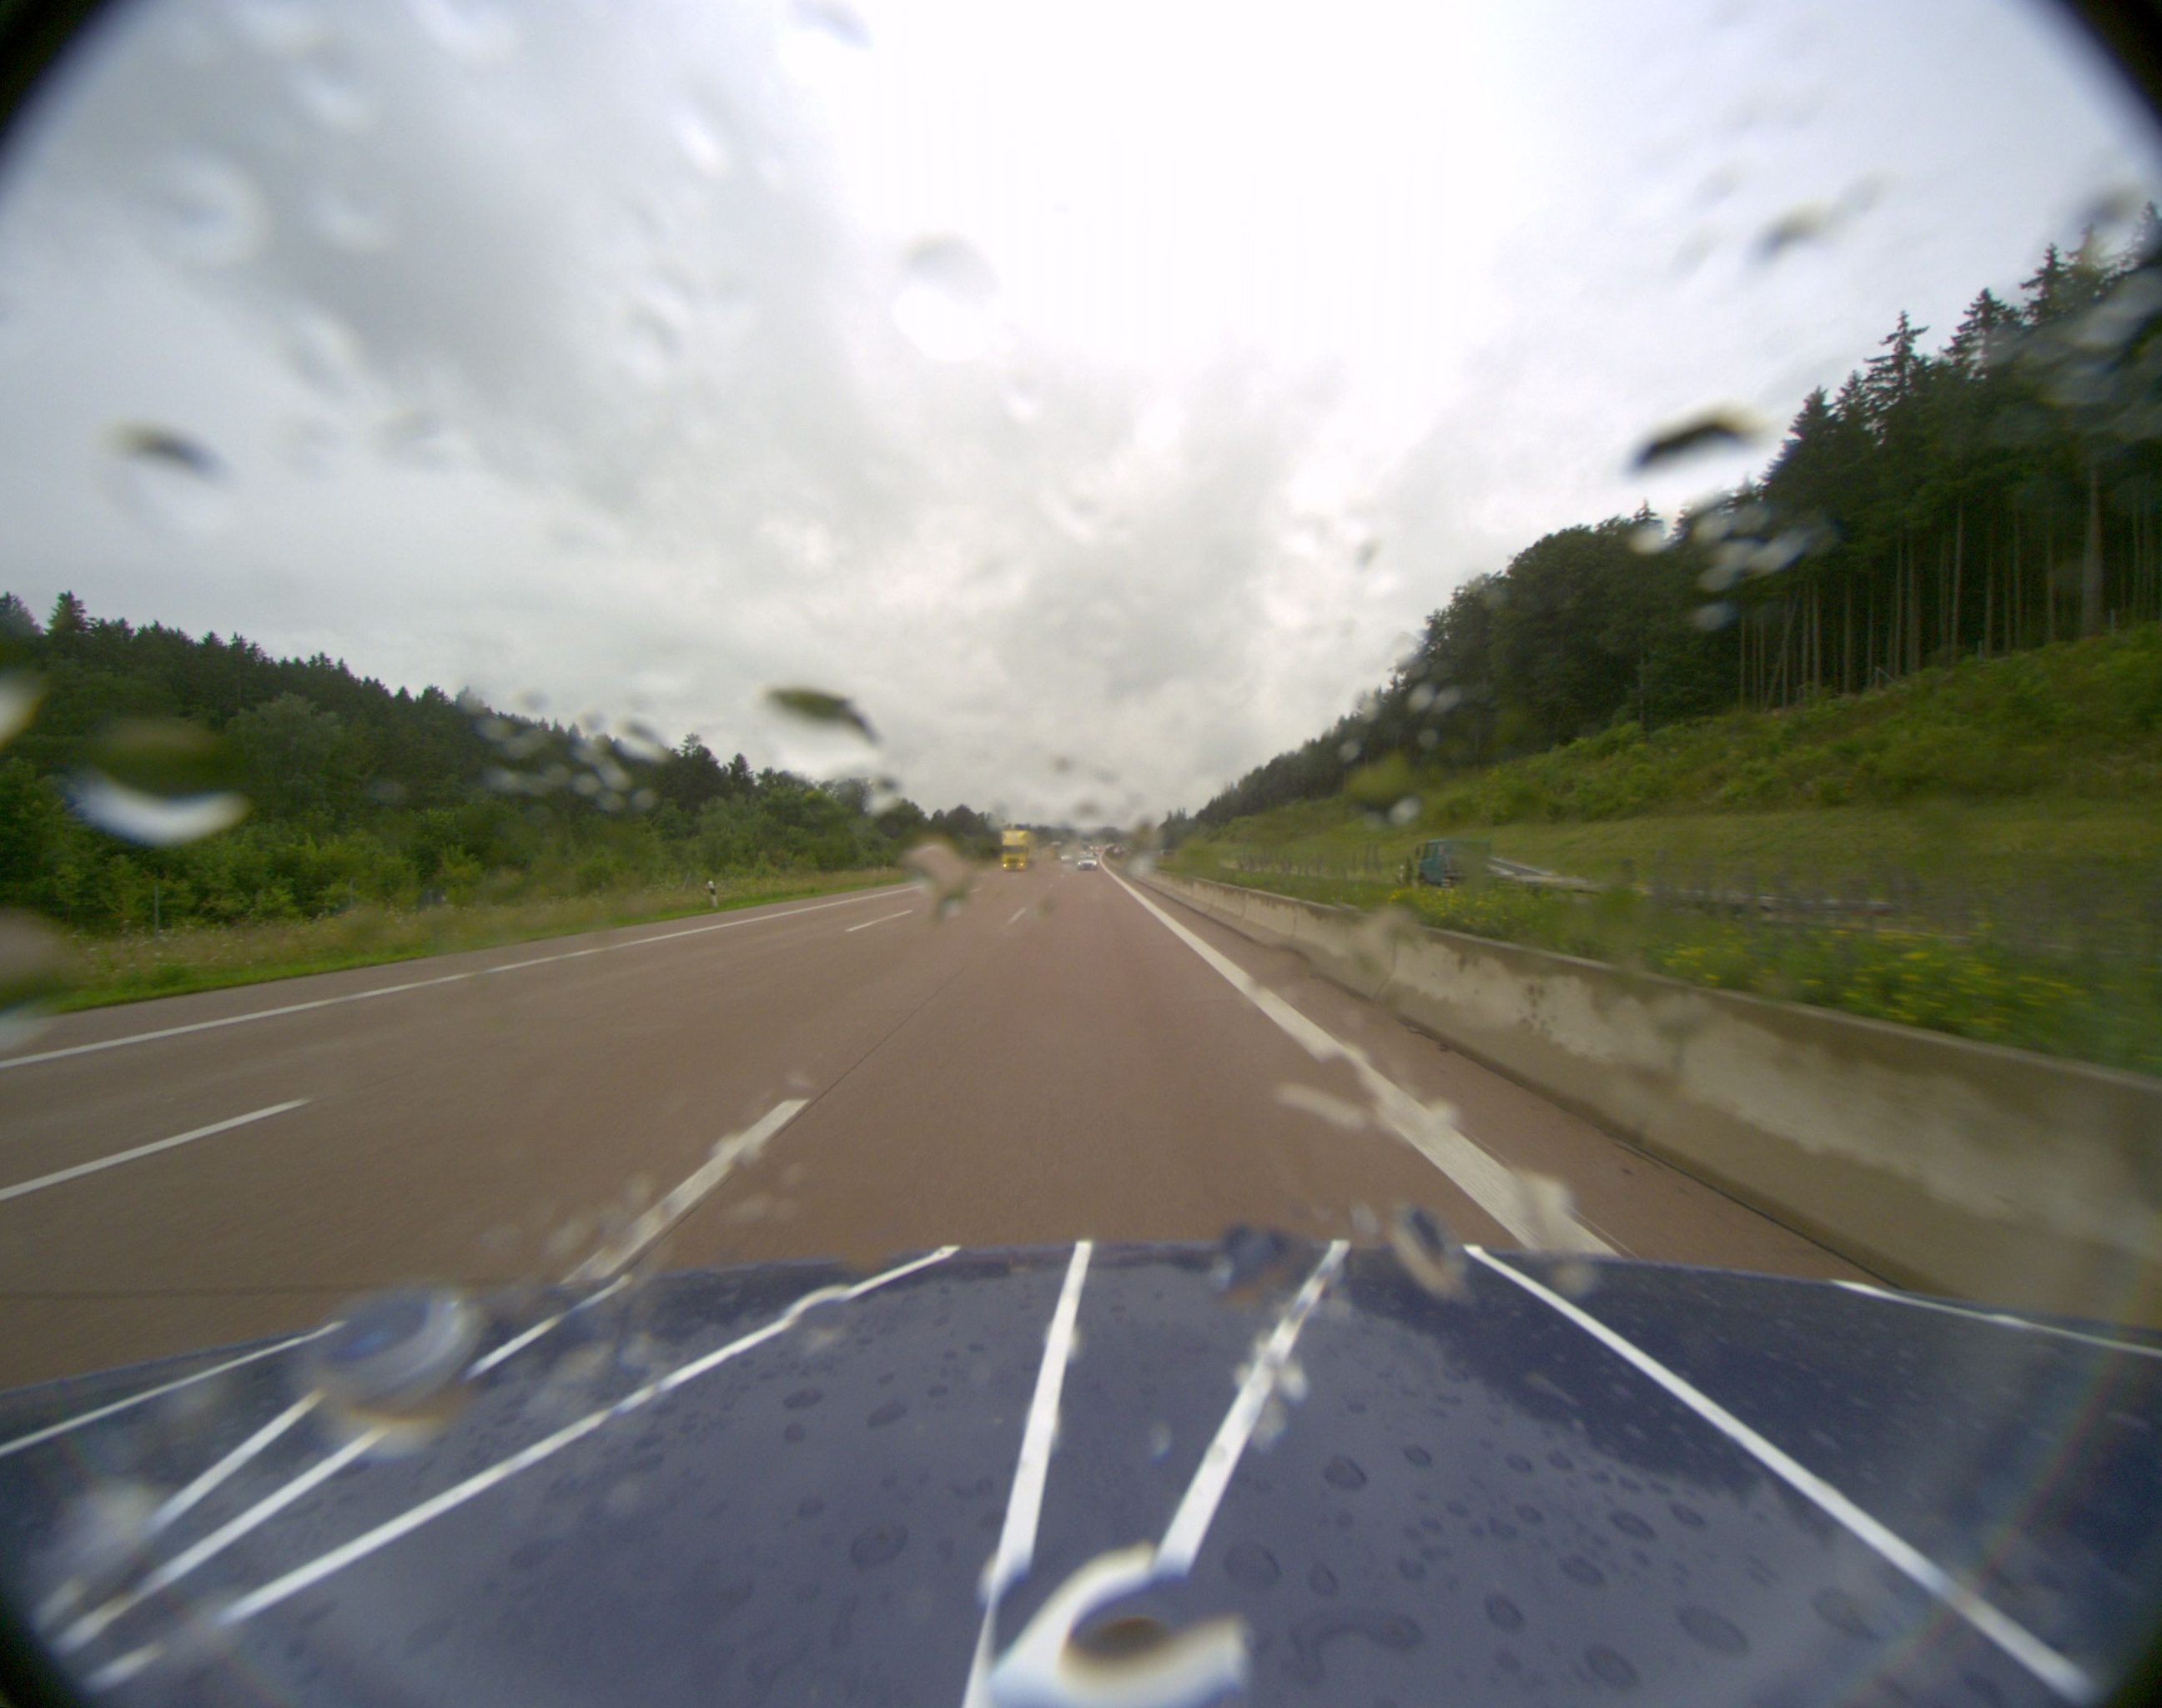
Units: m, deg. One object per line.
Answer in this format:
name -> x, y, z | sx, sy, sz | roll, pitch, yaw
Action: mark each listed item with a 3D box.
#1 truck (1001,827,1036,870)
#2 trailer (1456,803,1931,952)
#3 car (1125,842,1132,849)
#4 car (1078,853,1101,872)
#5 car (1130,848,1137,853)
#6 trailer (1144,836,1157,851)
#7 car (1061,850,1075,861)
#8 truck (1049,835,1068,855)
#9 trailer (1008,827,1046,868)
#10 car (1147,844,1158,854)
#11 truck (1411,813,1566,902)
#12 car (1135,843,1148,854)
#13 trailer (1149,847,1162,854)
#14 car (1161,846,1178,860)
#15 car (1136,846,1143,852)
truck -> -6.332, -0.617, 77.610 | 2.610, 4.190, 6.249 | -2, 2, 2
trailer -> 16.315, 0.328, 23.016 | 2.845, 2.981, 14.432 | -2, 1, 1
car -> 14.148, -2.560, 224.783 | 1.895, 1.769, 4.938 | -2, 1, 3
car -> 0.886, 0.820, 74.366 | 1.998, 1.623, 4.931 | -2, 1, 2
car -> 16.980, -1.101, 247.657 | 1.998, 1.757, 5.095 | -1, 0, 2
trailer -> 20.910, -3.270, 228.795 | 2.926, 4.315, 13.577 | -4, 1, 2
car -> -2.105, 0.303, 126.567 | 1.998, 1.623, 4.931 | -2, 1, 2
truck -> -4.956, -2.203, 173.689 | 3.190, 4.349, 14.702 | -2, 1, 2
trailer -> -5.971, -0.810, 86.545 | 2.571, 4.204, 14.078 | -2, 1, 2
car -> 16.125, -1.218, 171.083 | 1.998, 2.002, 5.672 | -2, 2, 1
truck -> 16.408, 0.054, 31.189 | 2.870, 3.154, 6.493 | -2, 1, 1
car -> 9.715, -0.856, 122.315 | 1.847, 1.594, 3.845 | -2, 1, 1
trailer -> 16.142, -0.690, 165.024 | 2.210, 0.992, 6.849 | -10, 1, 1
car -> 13.181, -0.209, 113.477 | 2.043, 2.046, 5.069 | 0, 1, 1
car -> 16.426, -1.355, 212.916 | 1.730, 1.520, 4.116 | -2, 1, 1
